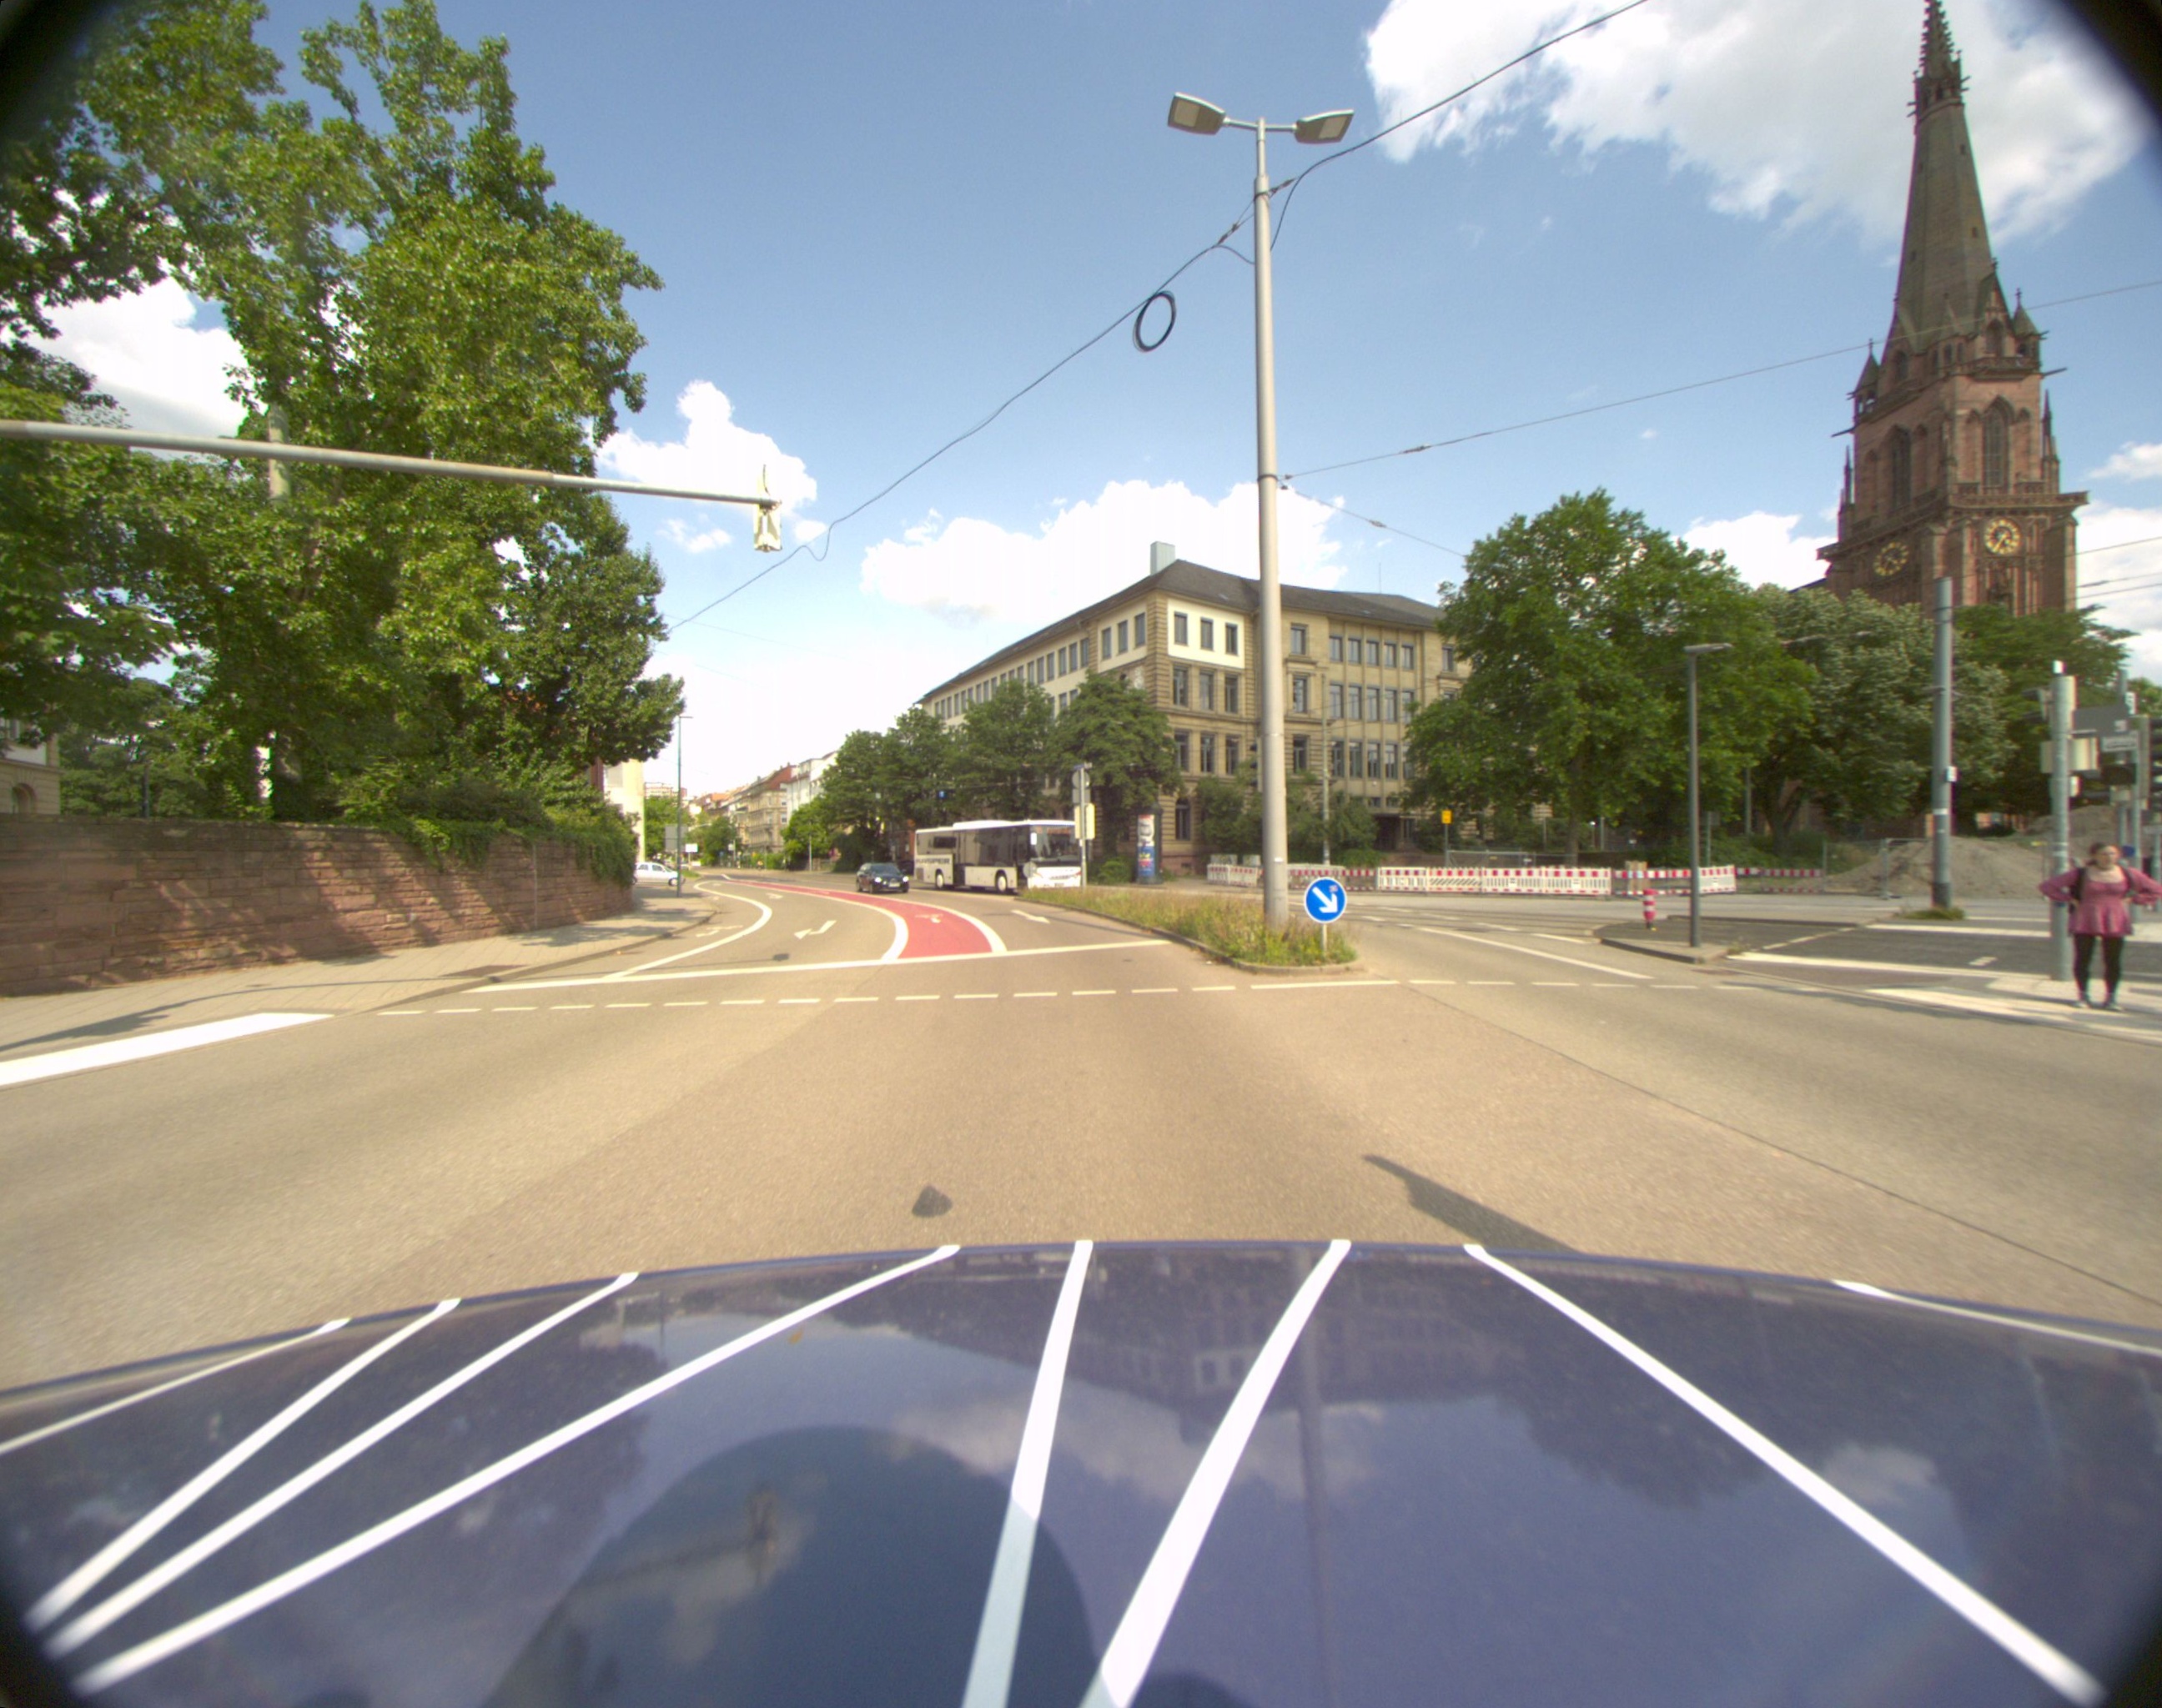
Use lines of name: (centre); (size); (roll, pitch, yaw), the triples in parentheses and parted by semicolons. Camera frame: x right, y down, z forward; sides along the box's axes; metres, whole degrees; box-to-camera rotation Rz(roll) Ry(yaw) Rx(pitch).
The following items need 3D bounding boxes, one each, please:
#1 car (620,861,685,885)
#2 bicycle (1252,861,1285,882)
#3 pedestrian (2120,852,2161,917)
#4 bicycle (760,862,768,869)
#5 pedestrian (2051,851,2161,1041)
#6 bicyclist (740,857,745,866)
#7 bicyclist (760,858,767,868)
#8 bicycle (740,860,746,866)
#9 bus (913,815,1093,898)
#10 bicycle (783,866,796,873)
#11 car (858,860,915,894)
car: (-30.105, 1.308, 53.448); (3.899, 1.595, 1.661); (0, -2, -31)
bicycle: (11.282, 1.028, 45.721); (2.124, 1.161, 0.728); (-2, 1, -35)
pedestrian: (27.819, 0.780, 19.768); (0.581, 1.642, 0.788); (-1, 0, -17)
bicycle: (-47.421, 1.714, 113.527); (0.702, 1.011, 1.814); (1, -1, -37)
pedestrian: (9.701, 0.822, 7.193); (0.614, 1.696, 0.621); (-1, 0, -40)
bicyclist: (-58.076, 1.236, 130.436); (0.602, 1.483, 0.880); (5, -4, -31)
bicyclist: (-47.464, 1.355, 113.578); (0.694, 1.510, 0.865); (1, -1, -37)
bicycle: (-58.107, 1.557, 130.435); (0.606, 1.090, 2.018); (5, -4, -31)
bus: (-4.211, 0.080, 36.159); (2.932, 3.309, 12.174); (-2, 1, -35)
bicycle: (-42.490, 2.206, 110.691); (1.148, 0.904, 2.981); (-4, 2, -34)
car: (-9.720, 1.088, 37.813); (1.697, 1.567, 4.147); (-1, 0, -30)
